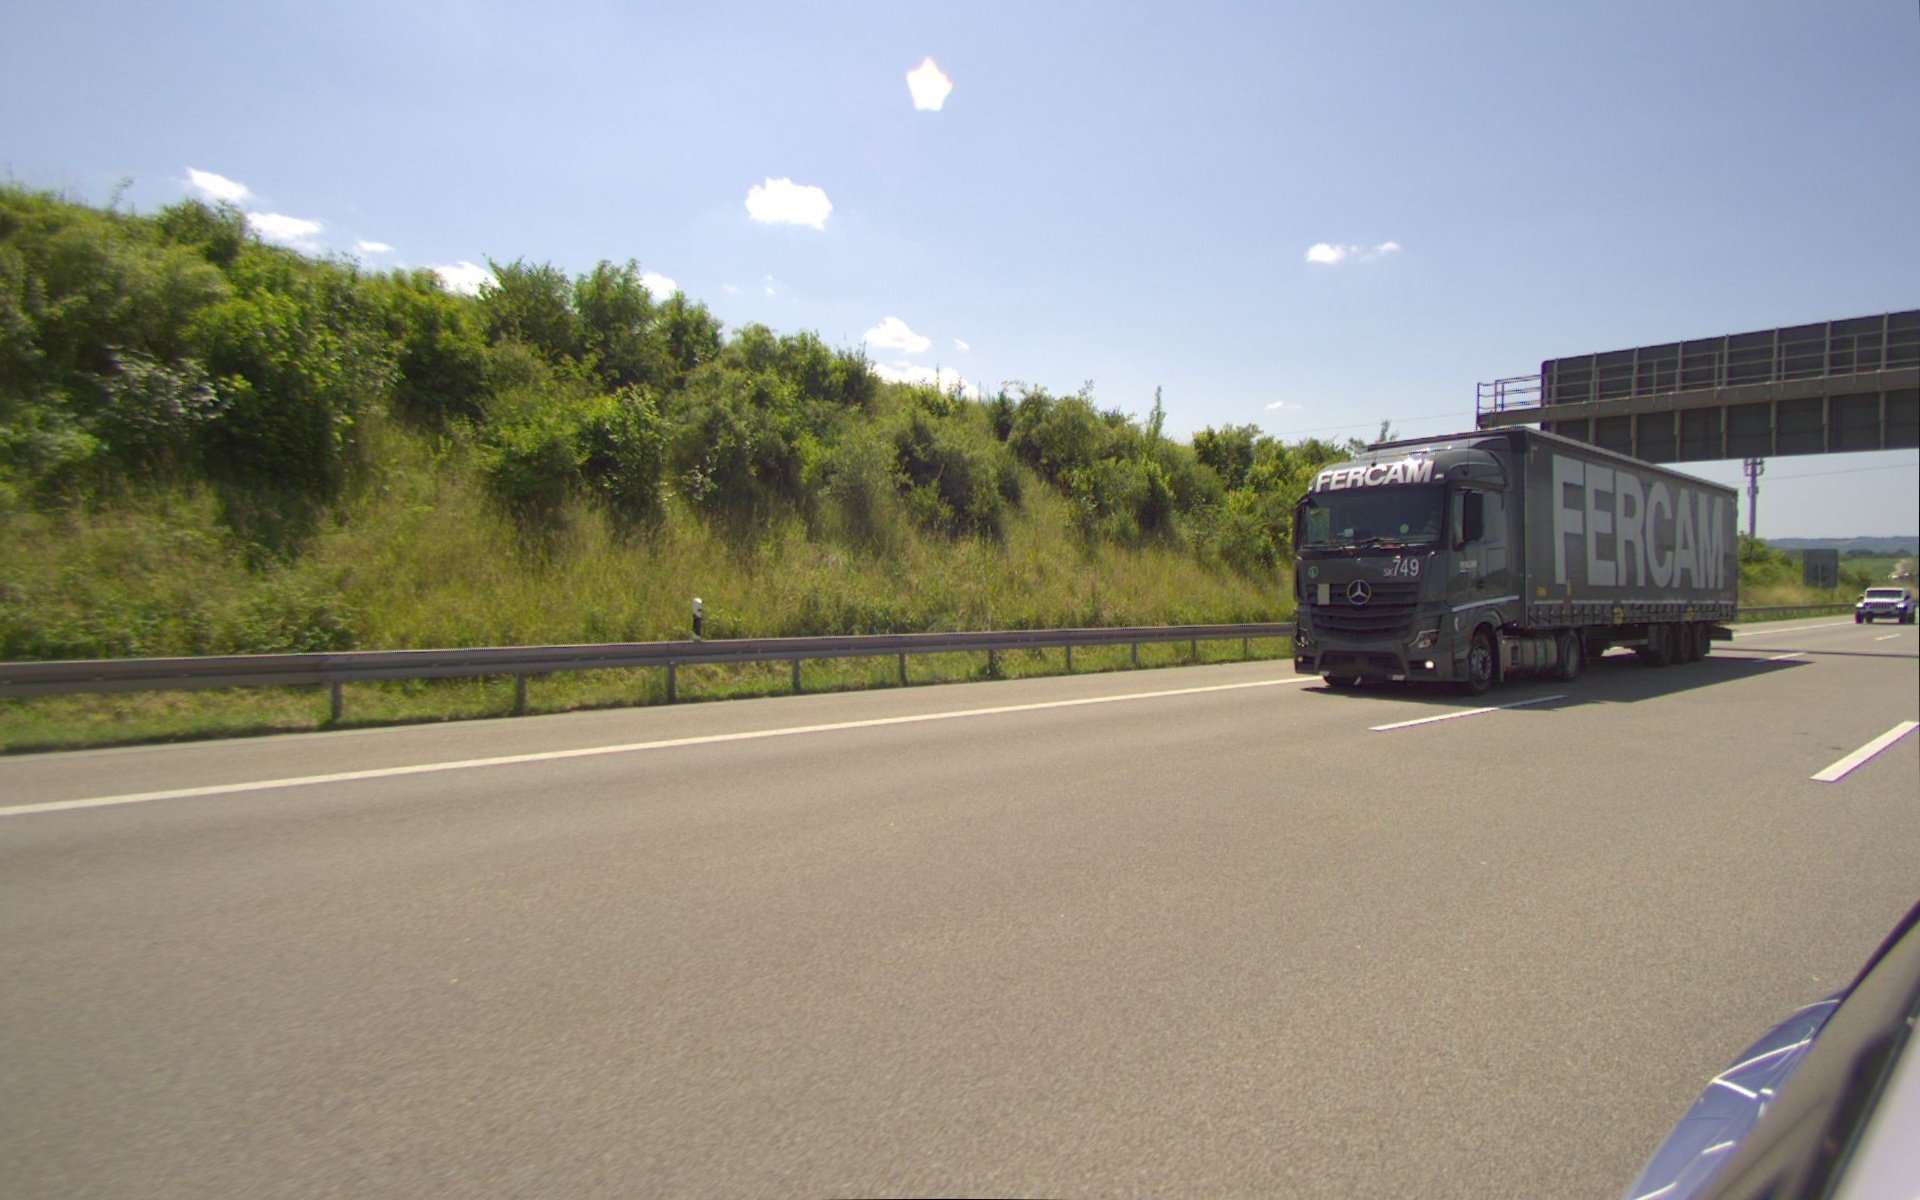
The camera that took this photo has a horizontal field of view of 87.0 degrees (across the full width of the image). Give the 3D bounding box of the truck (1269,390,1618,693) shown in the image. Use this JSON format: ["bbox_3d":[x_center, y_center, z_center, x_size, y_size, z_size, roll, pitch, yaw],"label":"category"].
[{"bbox_3d":[8.225,-0.839,16.811,6.669,4.071,2.757,-1,0,-41],"label":"truck"}]

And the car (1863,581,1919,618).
[{"bbox_3d":[47.781,-0.044,51.650,4.177,1.827,2.038,-1,1,-41],"label":"car"}]

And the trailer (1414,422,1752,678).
[{"bbox_3d":[13.706,-0.916,21.522,11.601,4.207,2.730,-1,1,-41],"label":"trailer"}]
